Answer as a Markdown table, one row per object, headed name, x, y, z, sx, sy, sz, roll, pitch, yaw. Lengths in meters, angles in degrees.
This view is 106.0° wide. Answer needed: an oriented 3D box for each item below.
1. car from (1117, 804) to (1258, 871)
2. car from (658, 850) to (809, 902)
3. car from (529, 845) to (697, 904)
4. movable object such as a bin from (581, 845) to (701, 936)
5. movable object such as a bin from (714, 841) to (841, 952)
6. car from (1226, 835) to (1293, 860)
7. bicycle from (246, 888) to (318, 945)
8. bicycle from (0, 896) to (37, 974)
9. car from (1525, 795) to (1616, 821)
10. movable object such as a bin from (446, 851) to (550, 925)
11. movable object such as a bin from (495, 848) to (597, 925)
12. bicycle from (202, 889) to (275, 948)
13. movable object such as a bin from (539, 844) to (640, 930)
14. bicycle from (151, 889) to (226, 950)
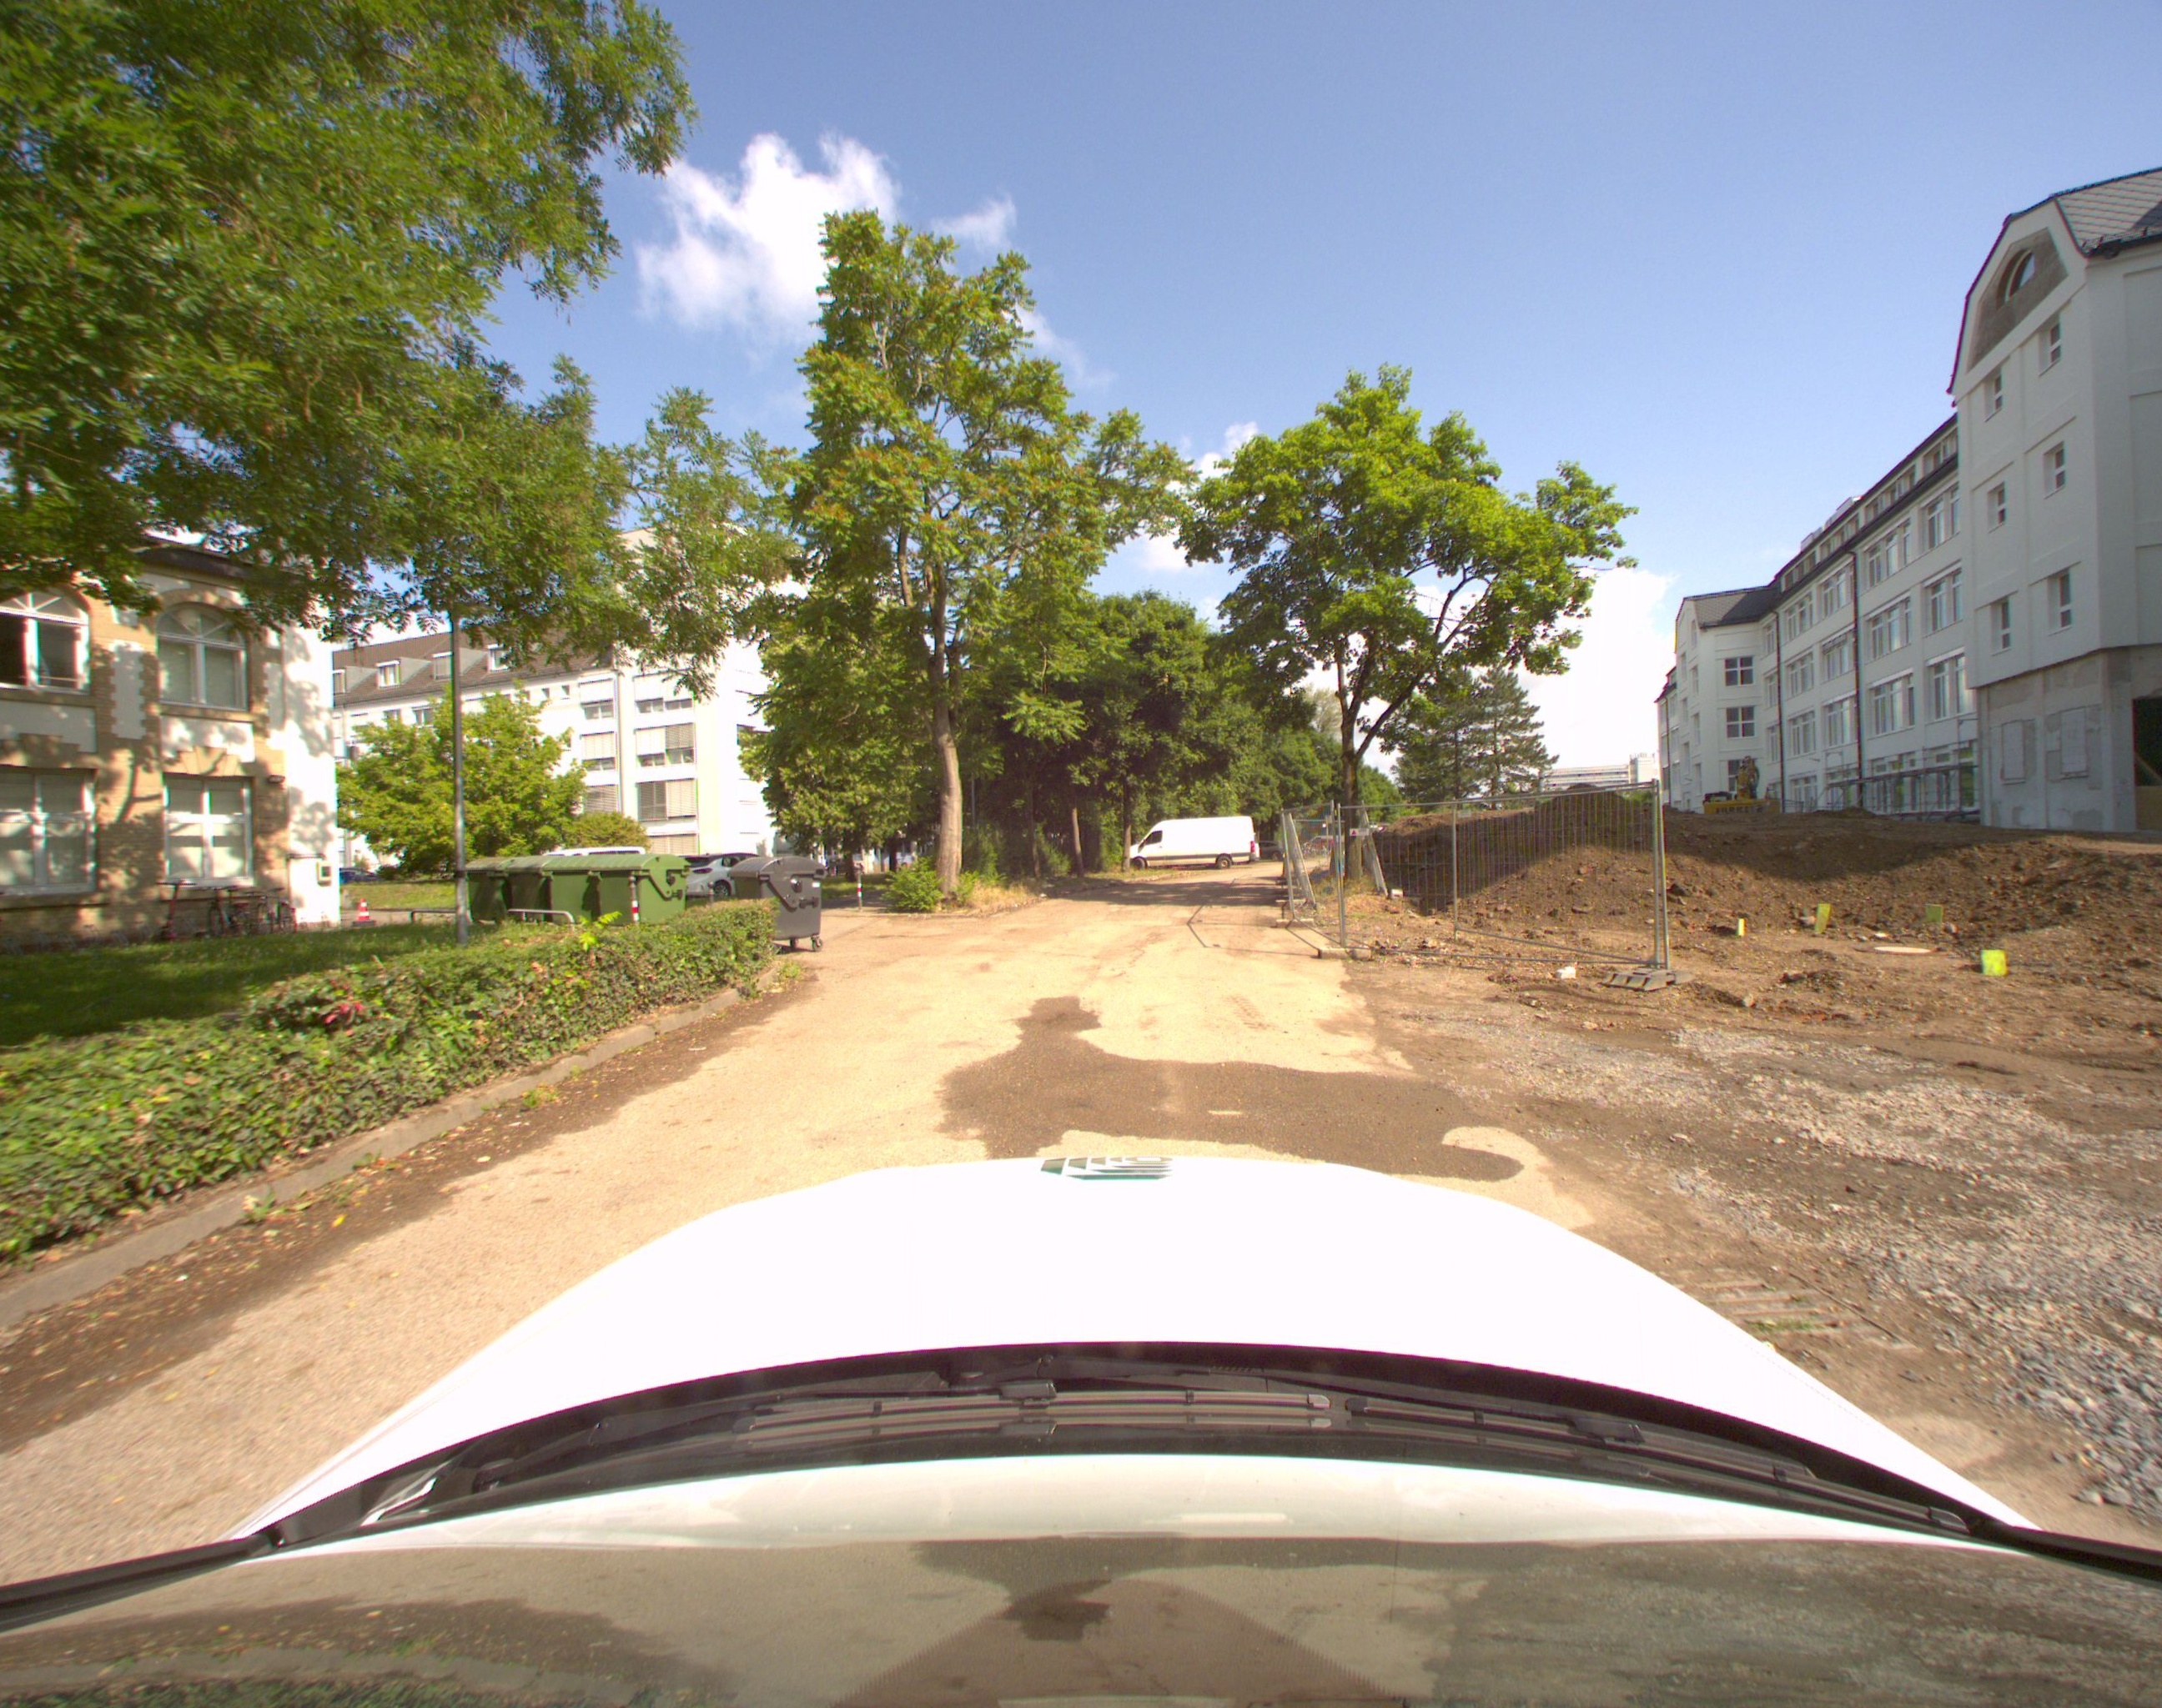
| name | x | y | z | sx | sy | sz | roll | pitch | yaw |
| --- | --- | --- | --- | --- | --- | --- | --- | --- | --- |
| car | 5.503 | -0.860 | 42.116 | 6.909 | 3.047 | 2.006 | 3 | -1 | 10 |
| car | -10.267 | 0.625 | 24.339 | 1.737 | 1.420 | 3.939 | 1 | 0 | 26 |
| car | -16.824 | 0.758 | 29.608 | 1.975 | 1.965 | 4.984 | -1 | -2 | 28 |
| movable object such as a bin | -7.594 | 0.629 | 14.097 | 1.328 | 1.452 | 1.108 | 2 | -3 | 18 |
| movable object such as a bin | -4.526 | 0.623 | 12.151 | 1.256 | 1.482 | 1.280 | 6 | -1 | -44 |
| car | 11.791 | -0.407 | 53.684 | 3.952 | 1.428 | 1.854 | 2 | -3 | 23 |
| bicycle | -15.958 | 1.233 | 16.256 | 1.837 | 1.037 | 0.322 | 1 | -3 | 25 |
| bicycle | -17.565 | 1.282 | 13.158 | 1.837 | 1.143 | 0.360 | 2 | -3 | 25 |
| car | 30.928 | -2.901 | 51.607 | 4.808 | 1.428 | 1.855 | 2 | -3 | 27 |
| movable object such as a bin | -11.411 | 0.669 | 15.968 | 1.365 | 1.349 | 0.951 | 2 | -3 | 20 |
| movable object such as a bin | -9.992 | 0.608 | 15.230 | 1.220 | 1.349 | 0.951 | 2 | -3 | 20 |
| bicycle | -16.317 | 1.235 | 15.769 | 1.837 | 1.037 | 0.322 | 1 | -3 | 25 |
| movable object such as a bin | -8.814 | 0.590 | 14.622 | 1.220 | 1.452 | 0.884 | 2 | -3 | 20 |
| bicycle | -16.551 | 1.196 | 15.092 | 1.837 | 1.037 | 0.322 | 1 | -3 | 25 |
